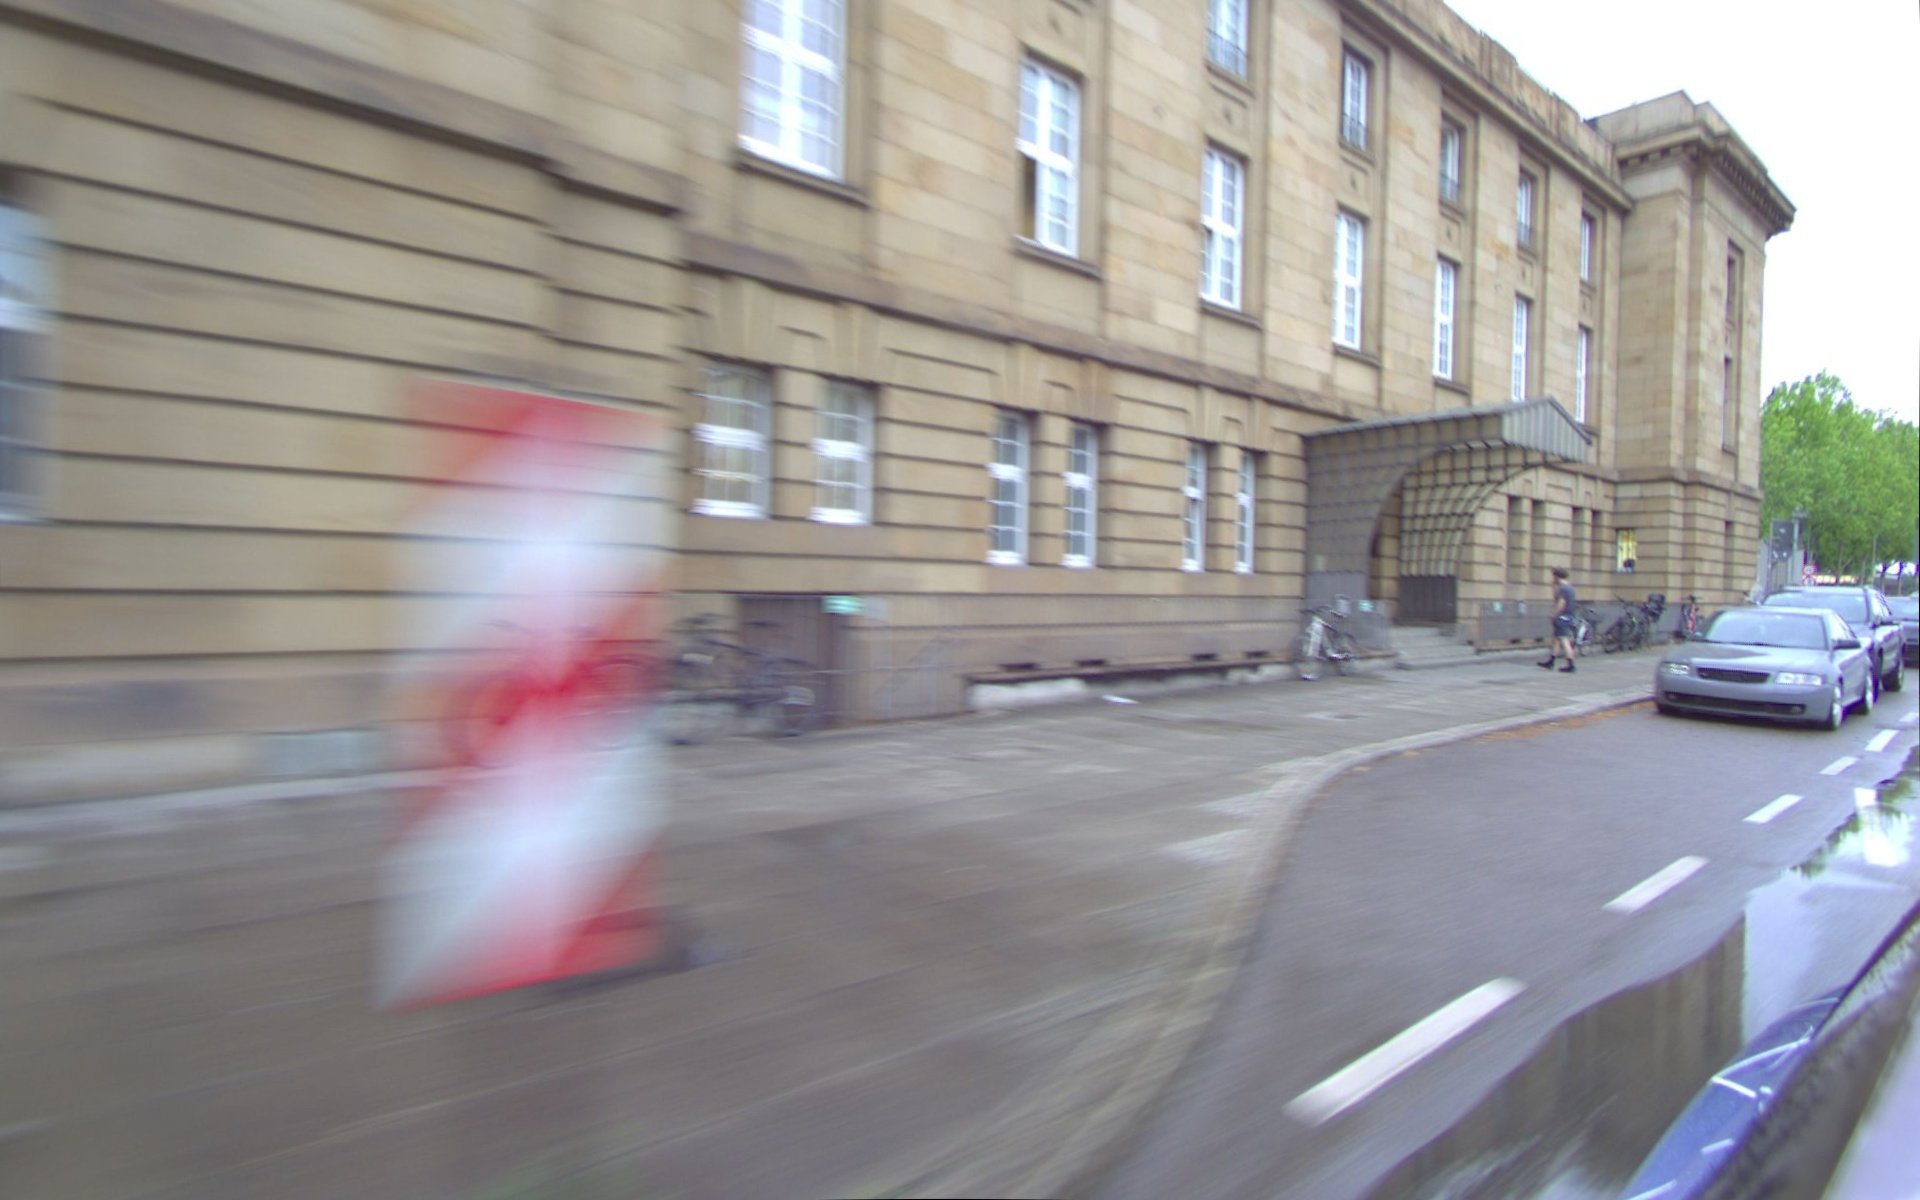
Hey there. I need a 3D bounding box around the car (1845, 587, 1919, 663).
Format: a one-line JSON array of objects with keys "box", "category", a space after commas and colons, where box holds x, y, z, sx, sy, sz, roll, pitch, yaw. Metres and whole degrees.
[{"box": [21.086, 0.534, 22.193, 3.093, 1.430, 1.766, -1, 7, -36], "category": "car"}]

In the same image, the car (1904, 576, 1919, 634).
[{"box": [29.284, 0.151, 29.720, 4.328, 1.639, 1.874, 0, 2, -42], "category": "car"}]

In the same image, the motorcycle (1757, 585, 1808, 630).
[{"box": [24.973, 0.220, 30.731, 1.766, 1.315, 0.809, -1, 1, -37], "category": "motorcycle"}]

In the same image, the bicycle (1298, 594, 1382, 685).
[{"box": [5.551, 0.540, 14.743, 1.663, 1.230, 0.464, -1, 1, -43], "category": "bicycle"}]

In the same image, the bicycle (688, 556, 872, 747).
[{"box": [-1.533, 0.407, 8.813, 1.573, 1.535, 0.454, 0, -1, -43], "category": "bicycle"}]

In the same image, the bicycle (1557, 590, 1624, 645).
[{"box": [12.797, 0.343, 20.516, 1.727, 1.051, 0.585, -1, 1, -38], "category": "bicycle"}]

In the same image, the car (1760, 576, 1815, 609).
[{"box": [42.095, -0.415, 51.456, 2.967, 1.556, 1.585, -1, 3, -39], "category": "car"}]

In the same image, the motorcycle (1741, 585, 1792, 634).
[{"box": [23.375, 0.248, 29.331, 2.095, 1.342, 0.669, -1, 1, -37], "category": "motorcycle"}]

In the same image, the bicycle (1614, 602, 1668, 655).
[{"box": [15.033, 0.607, 22.329, 0.712, 1.064, 1.713, 1, 1, 44], "category": "bicycle"}]

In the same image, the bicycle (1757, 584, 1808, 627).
[{"box": [26.698, 0.163, 32.852, 1.829, 1.333, 1.102, -1, 1, -45], "category": "bicycle"}]

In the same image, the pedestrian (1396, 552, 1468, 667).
[{"box": [7.727, 0.131, 16.581, 0.631, 1.798, 0.797, -1, 4, -41], "category": "pedestrian"}]

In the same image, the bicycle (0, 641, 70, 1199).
[{"box": [-2.358, 0.680, 2.071, 0.747, 1.073, 1.987, -1, 1, -43], "category": "bicycle"}]

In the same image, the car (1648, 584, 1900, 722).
[{"box": [10.615, 0.554, 13.131, 3.638, 1.496, 1.935, -1, 1, -41], "category": "car"}]

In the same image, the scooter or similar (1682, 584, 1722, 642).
[{"box": [19.236, 0.320, 26.236, 1.244, 1.434, 0.414, -1, 4, -37], "category": "scooter or similar"}]

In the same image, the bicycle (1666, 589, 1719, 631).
[{"box": [19.536, 0.253, 26.974, 1.736, 1.063, 0.420, -1, 1, -28], "category": "bicycle"}]

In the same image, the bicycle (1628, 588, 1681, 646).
[{"box": [16.291, 0.373, 23.717, 0.730, 1.284, 1.731, 2, 2, 44], "category": "bicycle"}]

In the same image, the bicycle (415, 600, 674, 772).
[{"box": [-3.017, 0.579, 7.490, 1.759, 1.093, 0.353, -2, 3, -42], "category": "bicycle"}]

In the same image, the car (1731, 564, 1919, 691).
[{"box": [14.306, 0.337, 16.374, 4.113, 1.803, 1.998, -1, 1, -39], "category": "car"}]

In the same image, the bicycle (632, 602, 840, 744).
[{"box": [-1.850, 0.584, 8.571, 1.758, 1.094, 0.352, 2, -2, -42], "category": "bicycle"}]

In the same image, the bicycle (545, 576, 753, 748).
[{"box": [-2.483, 0.454, 8.199, 1.573, 1.267, 0.454, 0, -1, -43], "category": "bicycle"}]
